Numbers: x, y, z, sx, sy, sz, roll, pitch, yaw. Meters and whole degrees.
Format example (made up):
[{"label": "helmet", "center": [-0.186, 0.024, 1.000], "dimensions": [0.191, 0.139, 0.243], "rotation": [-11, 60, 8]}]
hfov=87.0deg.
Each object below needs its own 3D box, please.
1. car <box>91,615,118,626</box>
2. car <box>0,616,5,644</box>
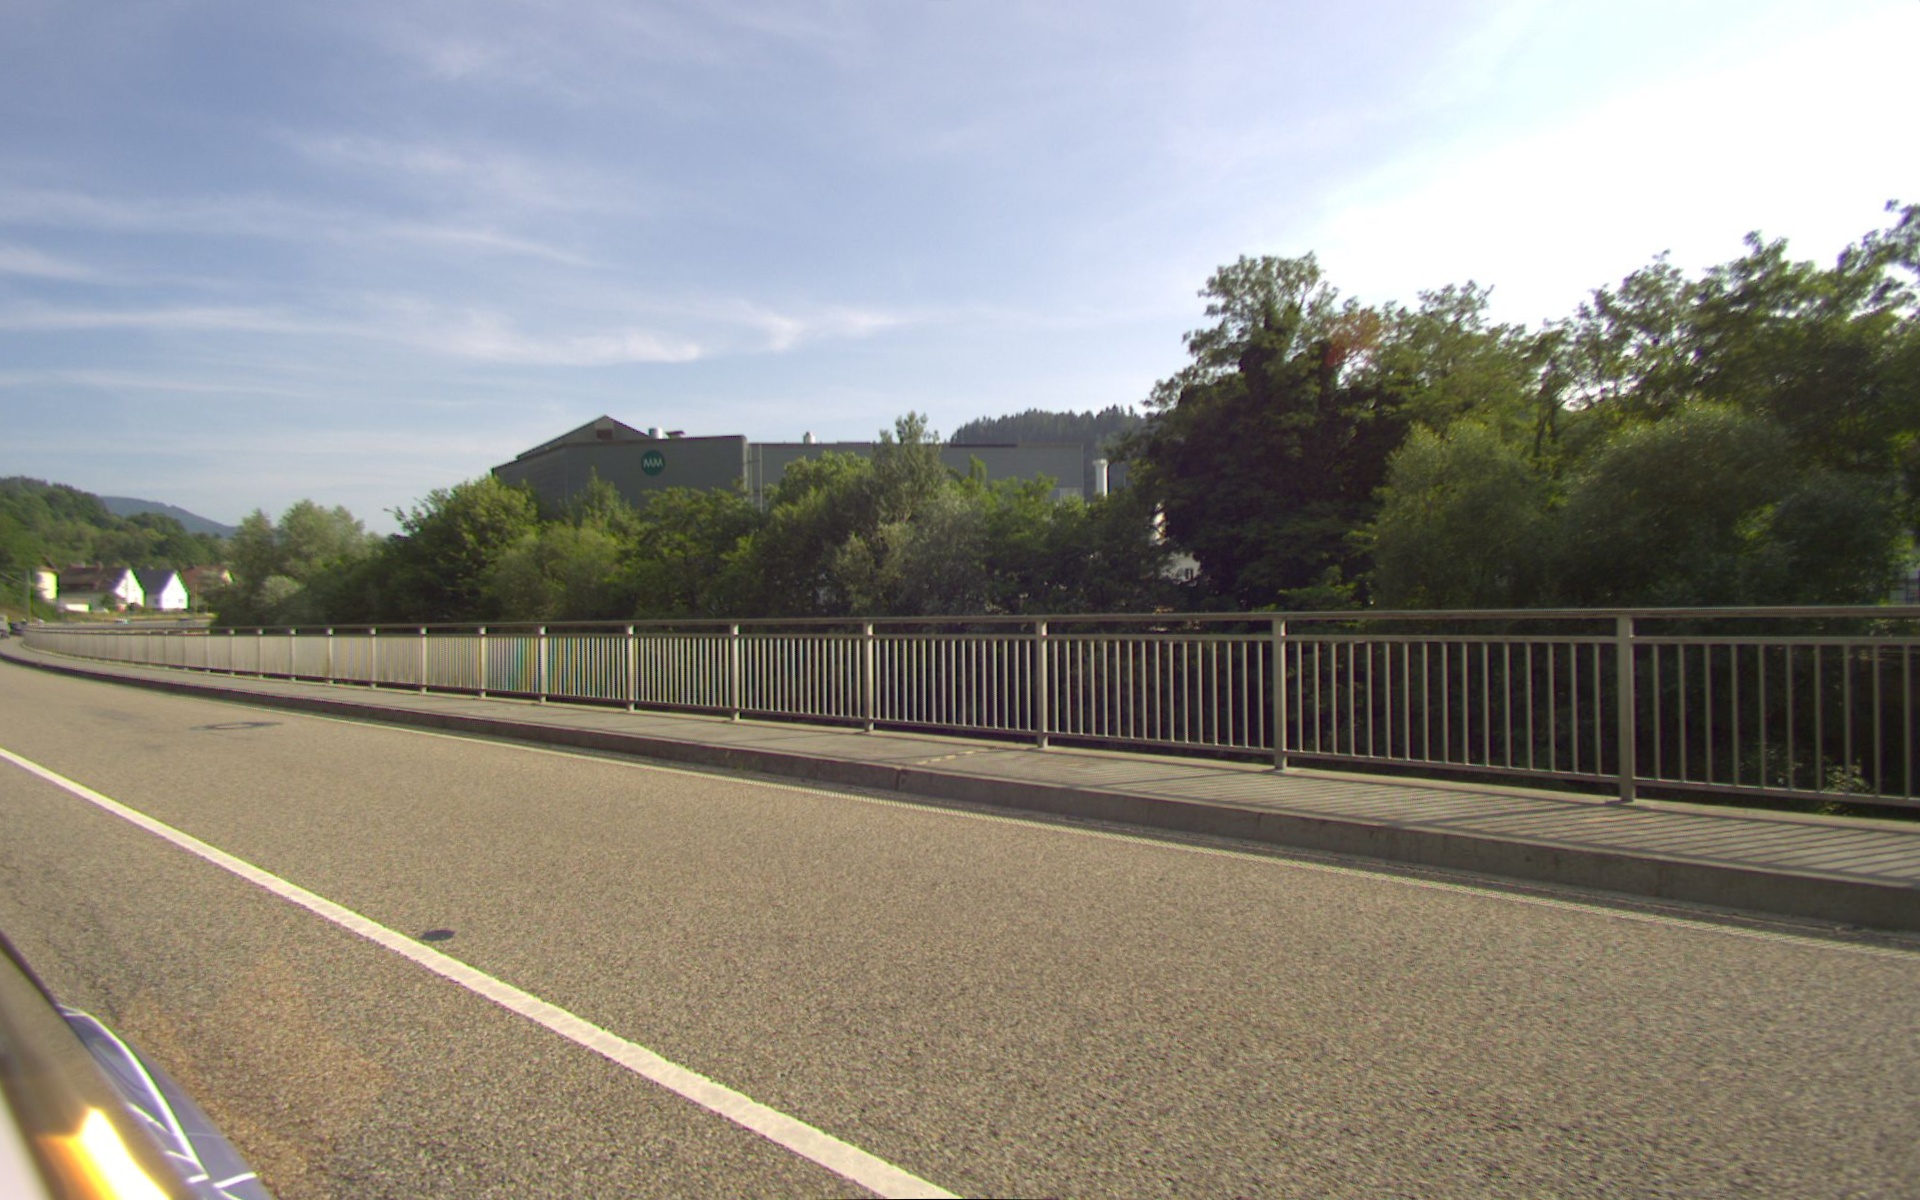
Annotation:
[{"label": "car", "center": [-139.708, 3.317, 165.333], "dimensions": [1.965, 1.693, 4.012], "rotation": [2, -3, -20]}, {"label": "car", "center": [-92.320, 2.856, 96.146], "dimensions": [2.132, 2.551, 6.586], "rotation": [2, -2, -42]}]
